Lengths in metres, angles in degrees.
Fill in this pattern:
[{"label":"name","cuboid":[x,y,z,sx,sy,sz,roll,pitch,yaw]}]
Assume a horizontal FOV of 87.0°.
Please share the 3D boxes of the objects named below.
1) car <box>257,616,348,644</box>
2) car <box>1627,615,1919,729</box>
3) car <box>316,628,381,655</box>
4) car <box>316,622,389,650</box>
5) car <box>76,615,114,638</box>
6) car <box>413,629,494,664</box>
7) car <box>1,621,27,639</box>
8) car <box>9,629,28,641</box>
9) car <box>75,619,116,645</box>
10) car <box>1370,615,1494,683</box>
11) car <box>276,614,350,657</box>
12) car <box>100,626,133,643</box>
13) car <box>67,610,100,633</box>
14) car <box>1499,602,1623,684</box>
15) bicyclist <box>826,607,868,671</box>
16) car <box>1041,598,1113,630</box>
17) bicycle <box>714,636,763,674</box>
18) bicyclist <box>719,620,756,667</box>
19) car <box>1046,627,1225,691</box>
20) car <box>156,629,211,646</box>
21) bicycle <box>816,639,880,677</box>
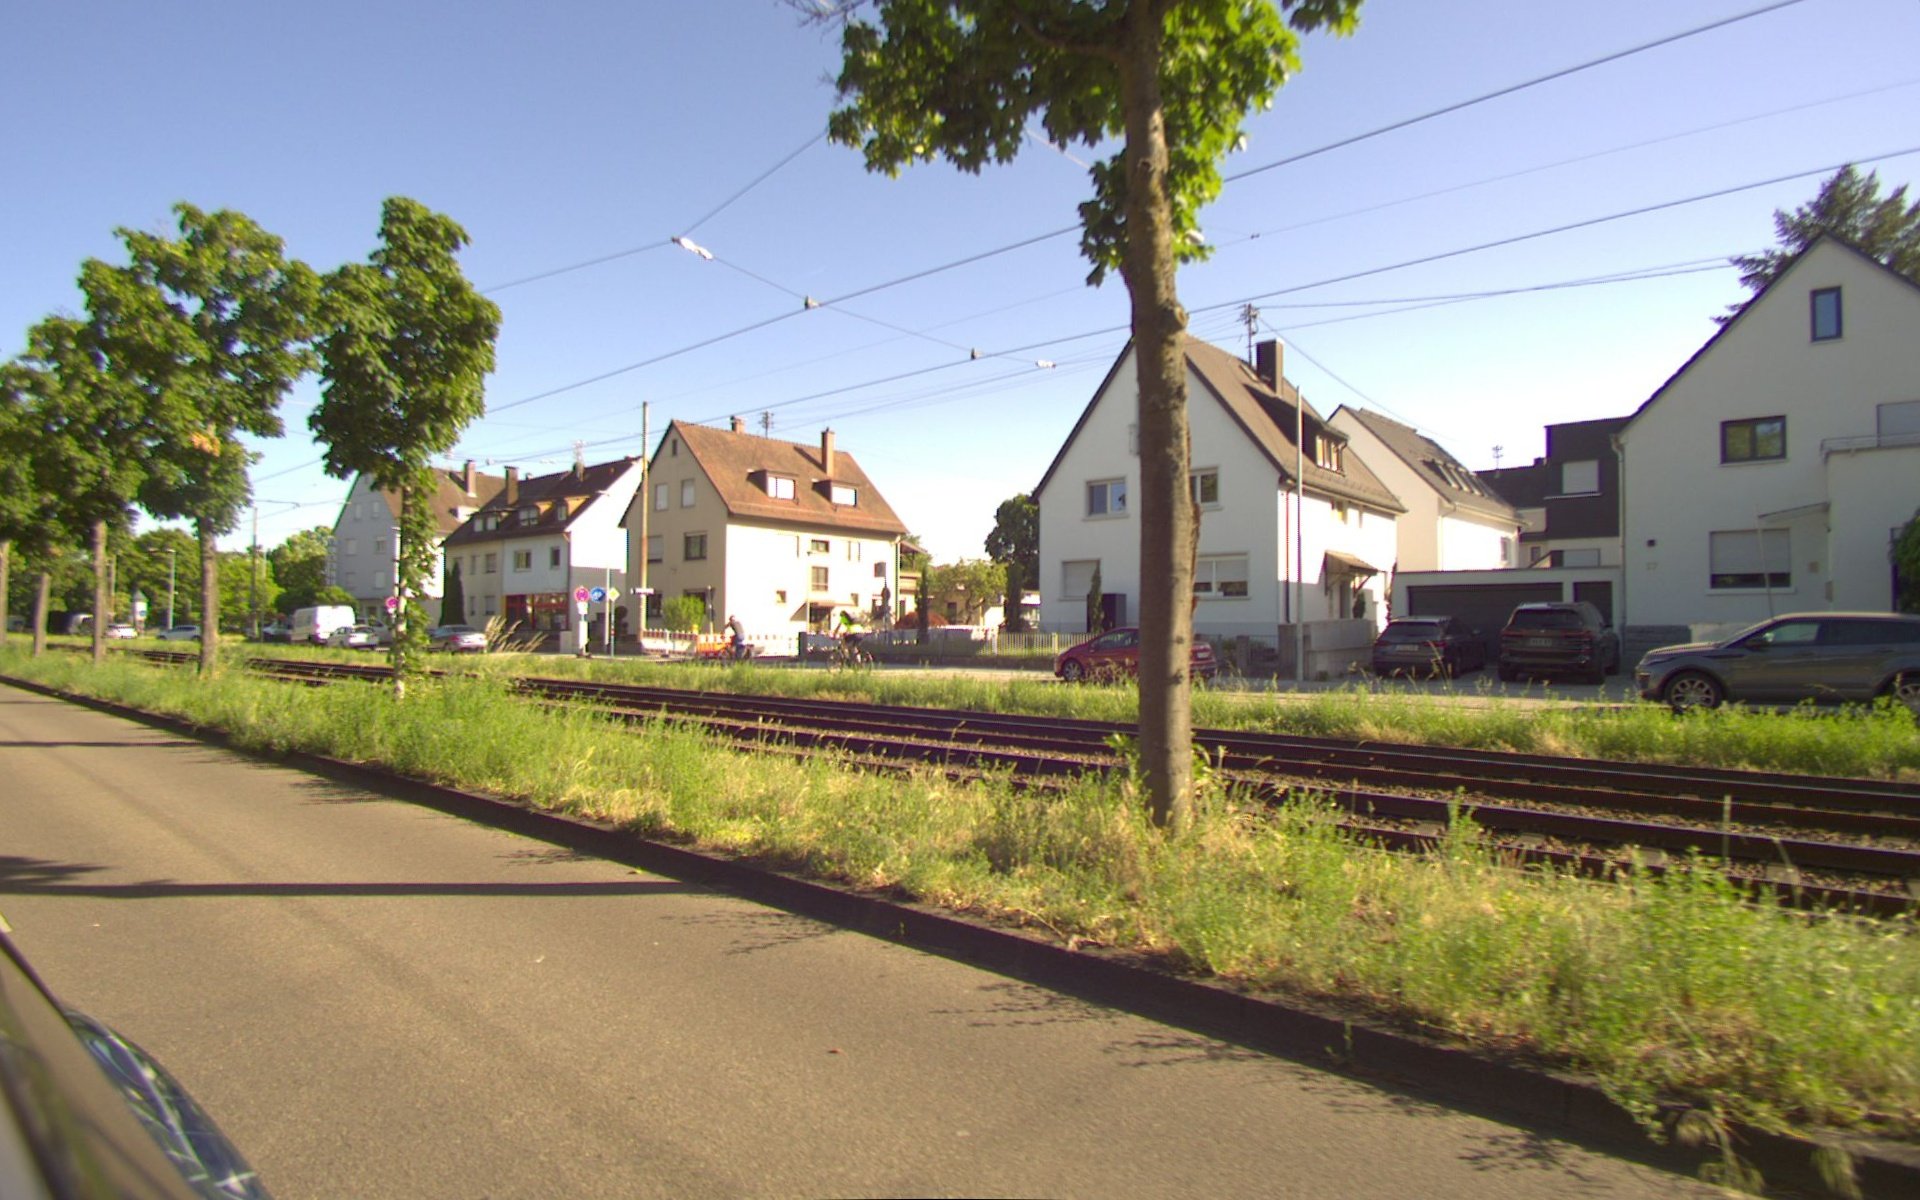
[{"label":"car","cuboid":[-62.463,2.843,96.297,2.325,2.526,7.003,-2,-1,35]},{"label":"car","cuboid":[13.056,1.026,15.647,4.385,1.580,1.626,-1,-1,43]},{"label":"car","cuboid":[-35.019,2.340,57.915,4.655,1.423,1.806,-1,-1,41]},{"label":"car","cuboid":[-43.885,2.592,73.234,1.992,1.967,4.108,-1,-1,30]},{"label":"car","cuboid":[-92.911,2.811,108.659,6.461,2.394,2.160,-1,-1,41]},{"label":"car","cuboid":[-24.433,2.207,48.753,4.496,1.593,1.972,-2,-1,42]},{"label":"car","cuboid":[-142.097,4.503,152.040,6.795,2.600,2.202,-2,-1,41]},{"label":"car","cuboid":[-136.568,5.025,146.761,4.530,1.635,1.605,-1,-1,41]},{"label":"car","cuboid":[-68.610,2.514,80.318,4.522,1.897,1.895,-1,-1,42]},{"label":"car","cuboid":[11.649,1.119,24.818,1.935,1.474,4.174,-1,-1,37]},{"label":"car","cuboid":[-39.568,2.107,61.804,6.670,2.478,1.973,-1,-1,41]},{"label":"car","cuboid":[-83.267,3.400,99.850,4.772,1.619,1.804,-1,-1,41]},{"label":"car","cuboid":[-98.765,2.357,114.030,6.133,2.515,1.981,-1,-1,41]},{"label":"car","cuboid":[13.635,0.890,22.852,1.997,1.682,3.950,-1,-1,37]},{"label":"bicyclist","cuboid":[-2.999,1.016,26.828,0.881,1.665,0.681,-1,-2,41]},{"label":"car","cuboid":[7.572,0.912,65.593,4.333,2.029,1.972,-1,-1,42]},{"label":"bicycle","cuboid":[-6.574,1.619,30.001,1.879,1.078,0.394,-2,-2,42]},{"label":"bicyclist","cuboid":[-6.604,1.282,30.055,0.881,1.347,0.681,-2,-2,41]},{"label":"car","cuboid":[4.059,1.336,23.855,4.000,1.336,1.478,-1,-1,43]},{"label":"car","cuboid":[-67.687,3.241,88.287,3.563,1.489,1.756,1,-2,-29]},{"label":"bicycle","cuboid":[-2.999,1.528,26.901,2.095,0.935,0.394,-1,-2,42]}]
